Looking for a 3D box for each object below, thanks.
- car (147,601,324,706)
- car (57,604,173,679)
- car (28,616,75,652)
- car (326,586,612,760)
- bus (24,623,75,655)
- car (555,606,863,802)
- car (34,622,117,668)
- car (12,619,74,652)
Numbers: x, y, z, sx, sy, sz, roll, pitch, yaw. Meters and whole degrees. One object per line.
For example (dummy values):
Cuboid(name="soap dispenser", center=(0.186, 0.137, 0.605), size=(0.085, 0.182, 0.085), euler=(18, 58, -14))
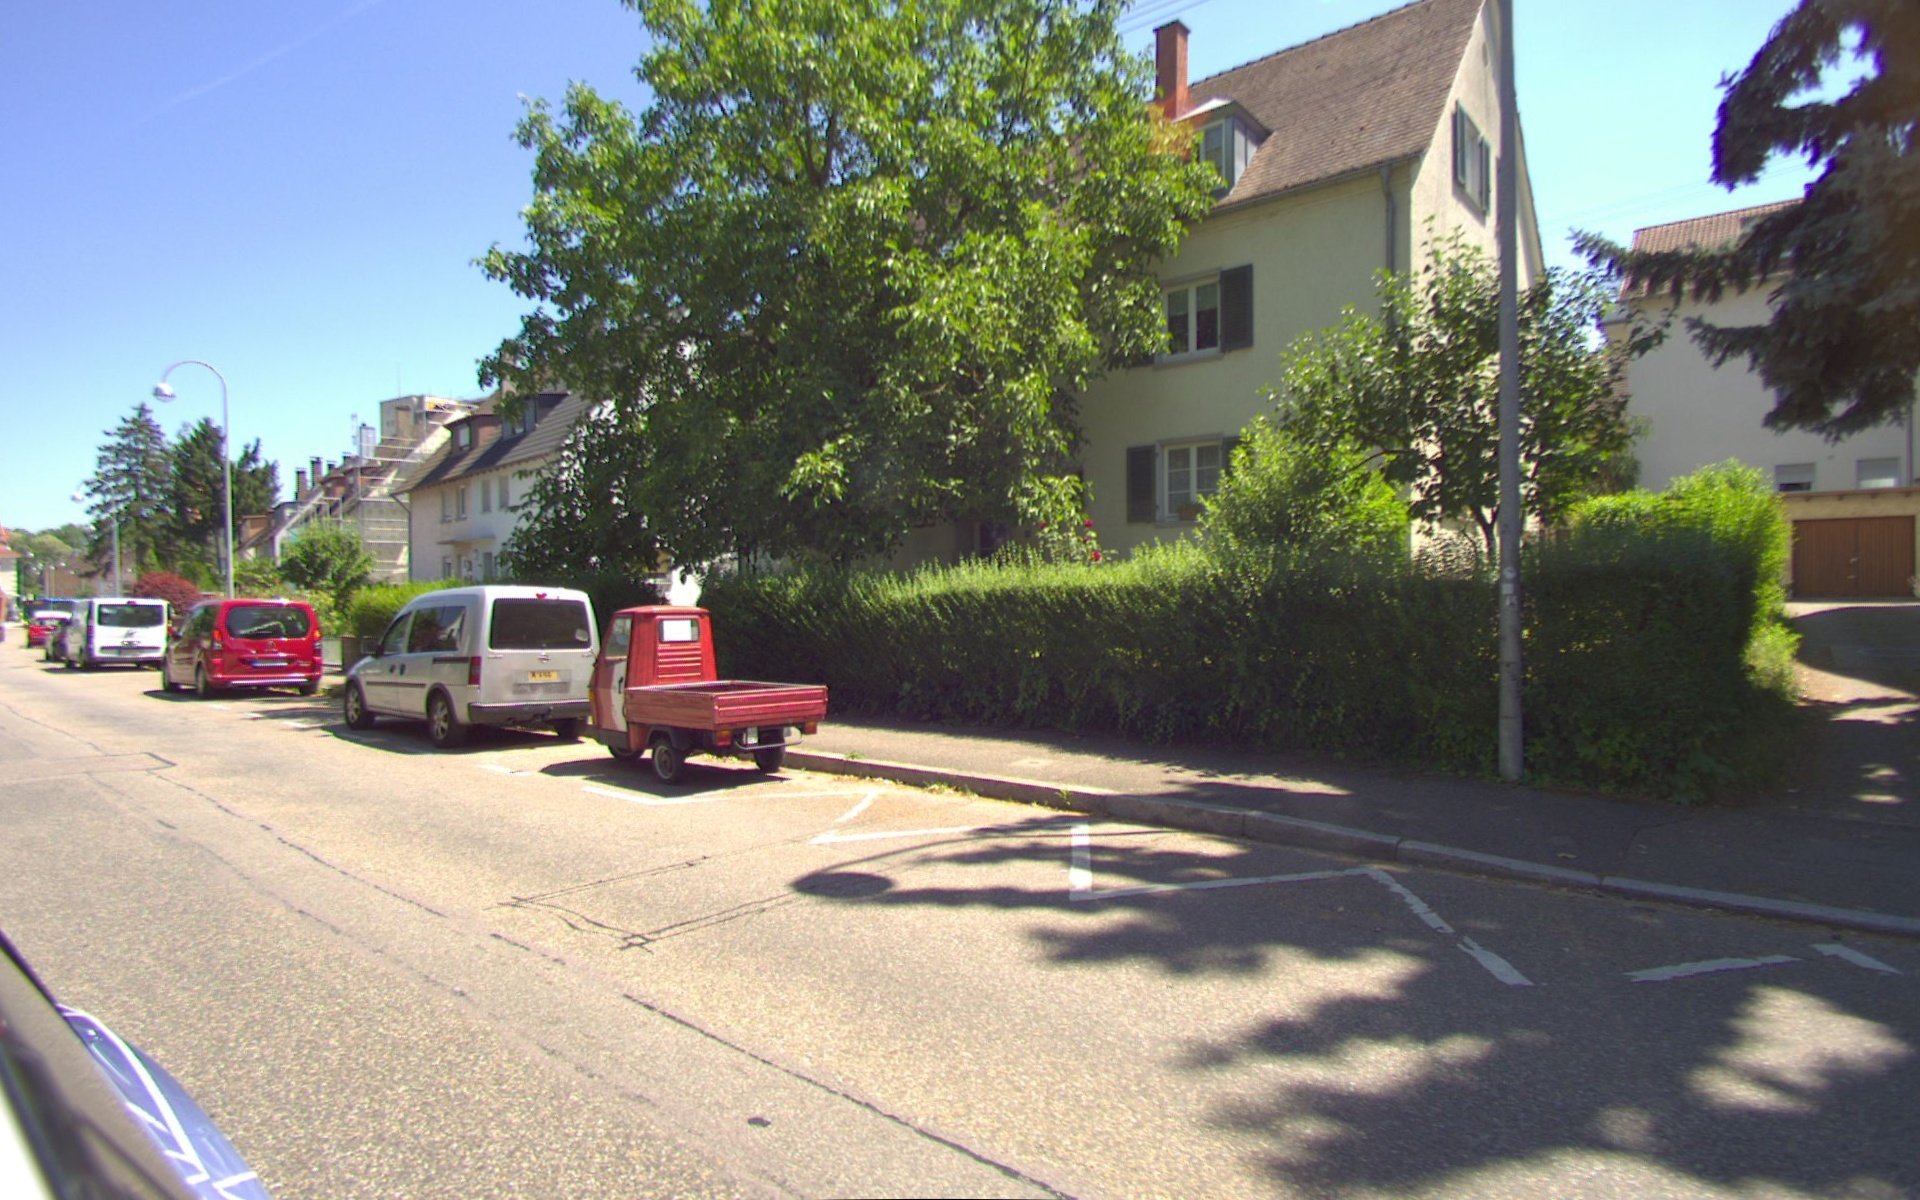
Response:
Cuboid(name="car", center=(-13.720, 0.948, 19.060), size=(4.456, 1.740, 1.739), euler=(-1, -2, 41))
Cuboid(name="car", center=(-23.524, 1.108, 28.093), size=(4.980, 1.895, 1.866), euler=(-1, -1, 43))
Cuboid(name="car", center=(-46.271, 1.726, 51.584), size=(1.702, 1.749, 3.892), euler=(2, -2, -41))
Cuboid(name="car", center=(-6.104, 0.785, 12.333), size=(4.353, 1.765, 1.630), euler=(-1, -2, 42))
Cuboid(name="bus", center=(-100.905, 4.232, 112.342), size=(2.865, 3.103, 12.592), euler=(-1, 0, -36))
Cuboid(name="car", center=(-2.366, 0.849, 9.299), size=(2.840, 1.515, 1.396), euler=(-1, -3, 42))
Cuboid(name="car", center=(-28.925, 1.430, 33.067), size=(4.237, 1.395, 1.679), euler=(-1, -3, 44))
Cuboid(name="car", center=(-43.072, 1.666, 47.602), size=(1.737, 1.489, 4.067), euler=(2, -2, -37))
